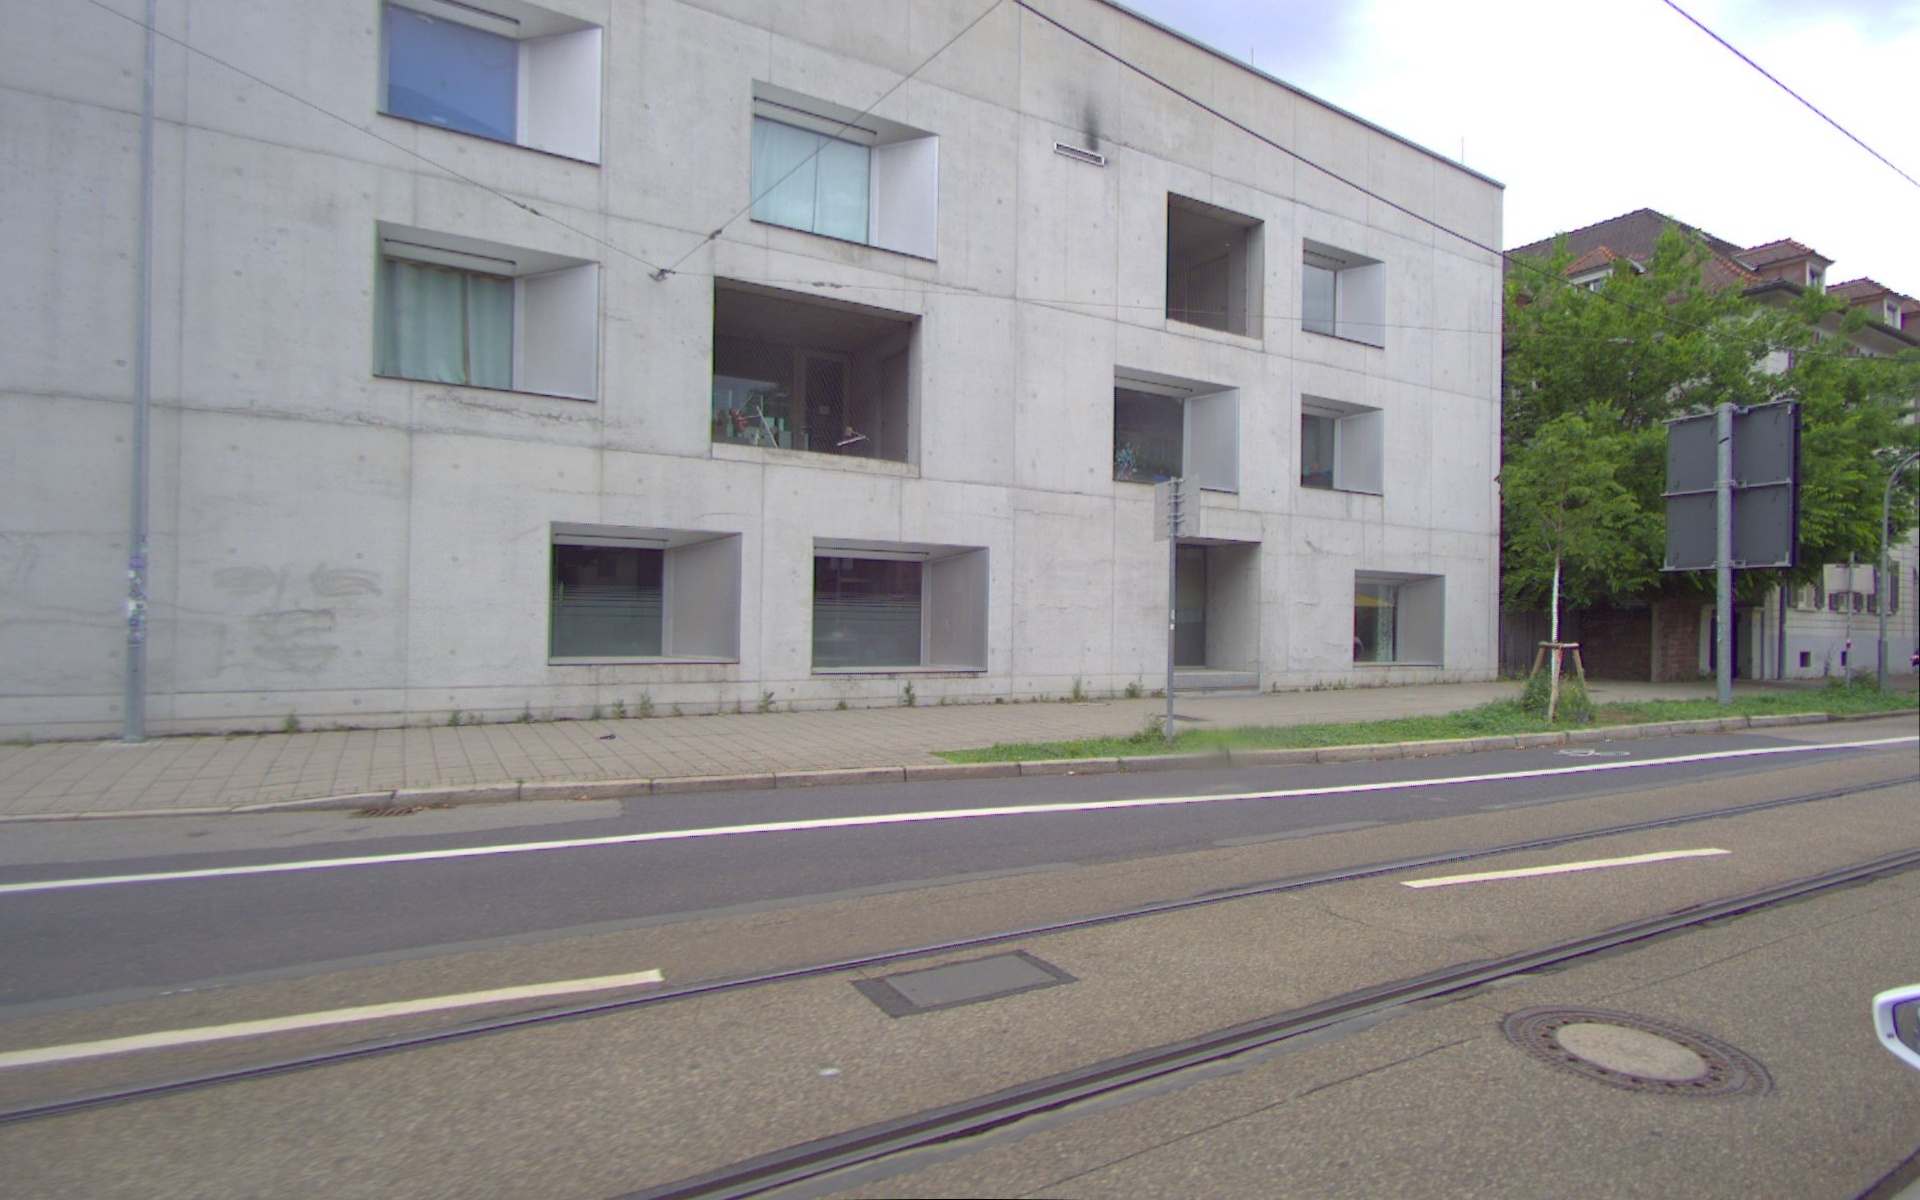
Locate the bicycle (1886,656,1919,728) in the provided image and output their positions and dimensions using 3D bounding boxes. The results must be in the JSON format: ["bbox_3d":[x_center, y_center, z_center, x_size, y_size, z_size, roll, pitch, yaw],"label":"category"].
[{"bbox_3d":[16.983,1.578,17.410,1.987,1.201,0.788,2,-4,-30],"label":"bicycle"}]

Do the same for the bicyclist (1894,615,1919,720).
[{"bbox_3d":[17.029,1.172,17.460,1.134,1.806,0.788,2,-4,-30],"label":"bicyclist"}]
